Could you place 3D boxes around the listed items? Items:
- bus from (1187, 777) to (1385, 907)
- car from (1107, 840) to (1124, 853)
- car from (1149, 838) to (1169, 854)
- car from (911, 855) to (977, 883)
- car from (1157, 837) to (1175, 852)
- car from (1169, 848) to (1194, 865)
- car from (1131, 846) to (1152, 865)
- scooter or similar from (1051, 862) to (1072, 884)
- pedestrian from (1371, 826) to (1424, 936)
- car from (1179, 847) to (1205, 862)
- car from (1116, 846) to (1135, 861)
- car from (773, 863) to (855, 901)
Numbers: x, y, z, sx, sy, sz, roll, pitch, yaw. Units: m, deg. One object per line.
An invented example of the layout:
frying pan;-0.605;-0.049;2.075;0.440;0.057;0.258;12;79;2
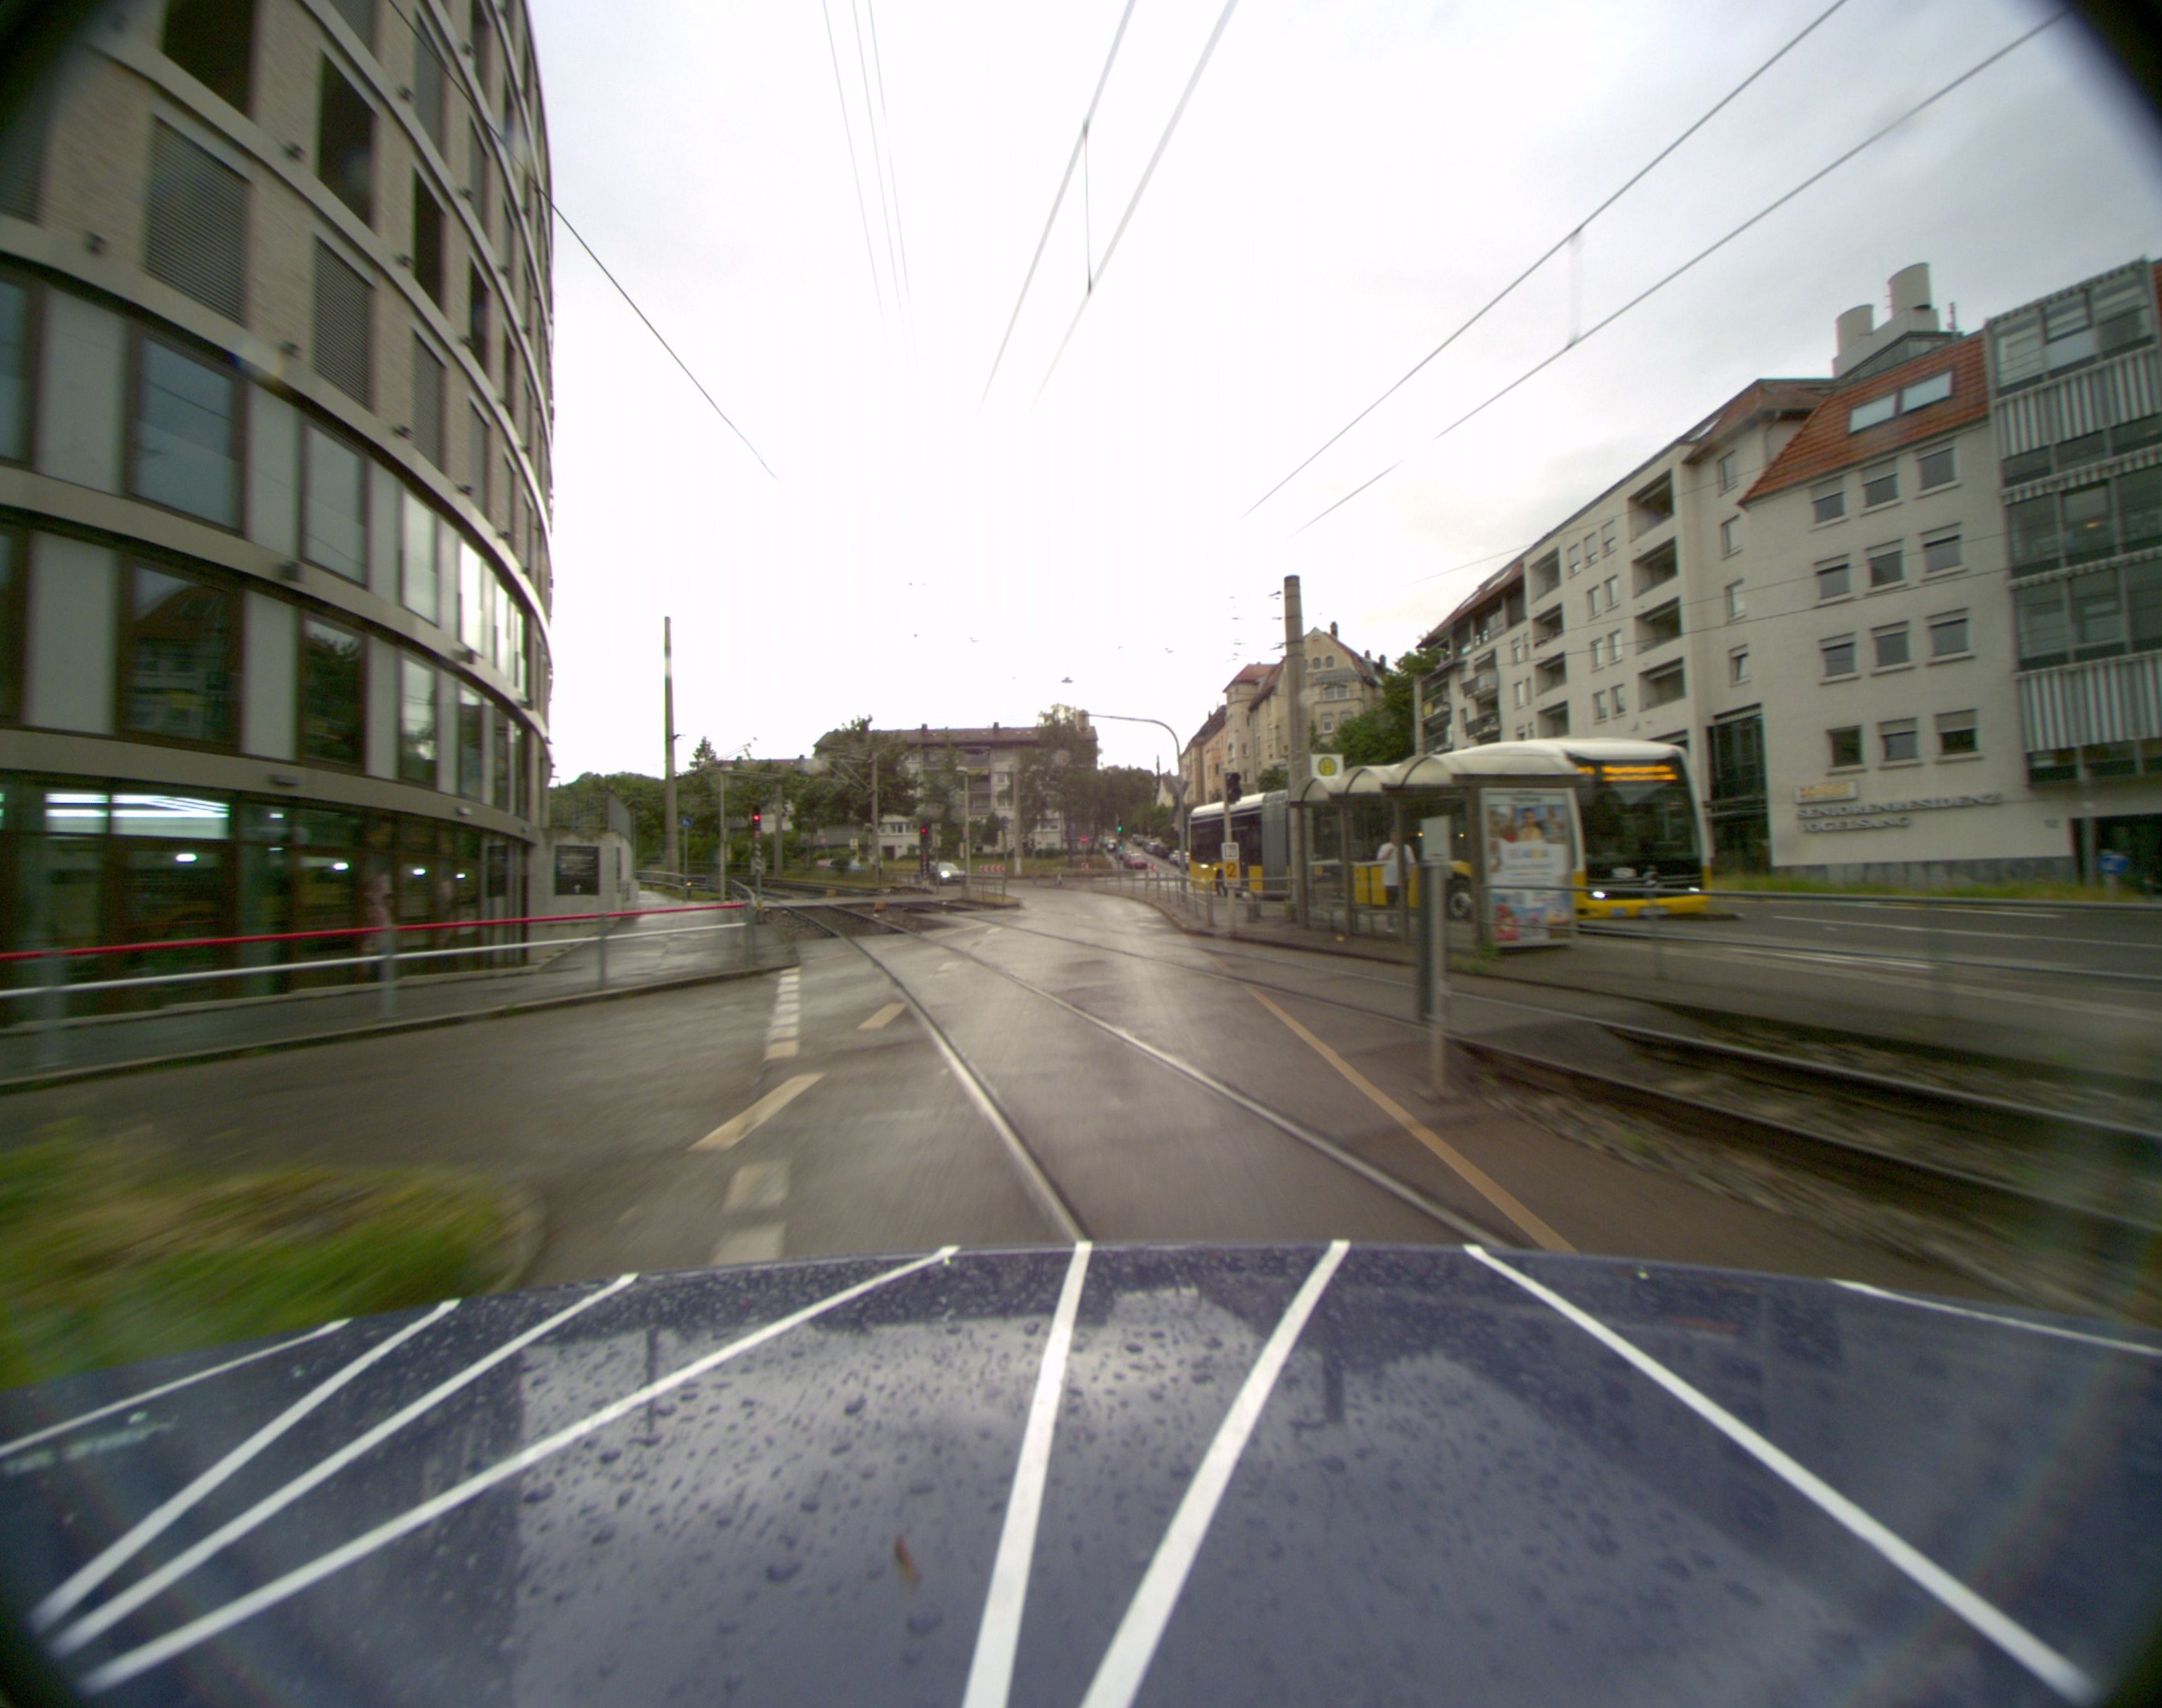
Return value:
bus;6.172;-0.351;24.898;2.599;3.449;9.098;0;1;-10
car;4.921;-1.116;109.069;1.805;1.824;4.282;0;0;-5
car;10.128;-1.055;99.156;1.999;2.002;3.999;0;1;-2
car;-8.503;0.891;46.868;4.292;1.607;1.817;-1;1;44
car;10.645;-1.189;95.315;1.680;1.824;3.664;0;0;-5
car;11.193;0.280;84.873;1.805;1.824;4.282;1;0;-5
car;6.376;0.175;80.122;1.998;2.002;4.000;0;0;1
scooter or similar;-1.049;1.015;40.688;0.435;1.107;1.601;-2;1;-26
pedestrian;5.172;0.429;12.423;0.578;1.742;0.542;0;1;-13
car;11.547;0.040;79.221;1.999;1.584;4.355;0;0;-2
car;5.643;-0.024;95.955;1.805;1.824;4.282;0;0;-5
car;-10.855;1.100;31.208;1.999;1.355;3.999;-1;0;-1
